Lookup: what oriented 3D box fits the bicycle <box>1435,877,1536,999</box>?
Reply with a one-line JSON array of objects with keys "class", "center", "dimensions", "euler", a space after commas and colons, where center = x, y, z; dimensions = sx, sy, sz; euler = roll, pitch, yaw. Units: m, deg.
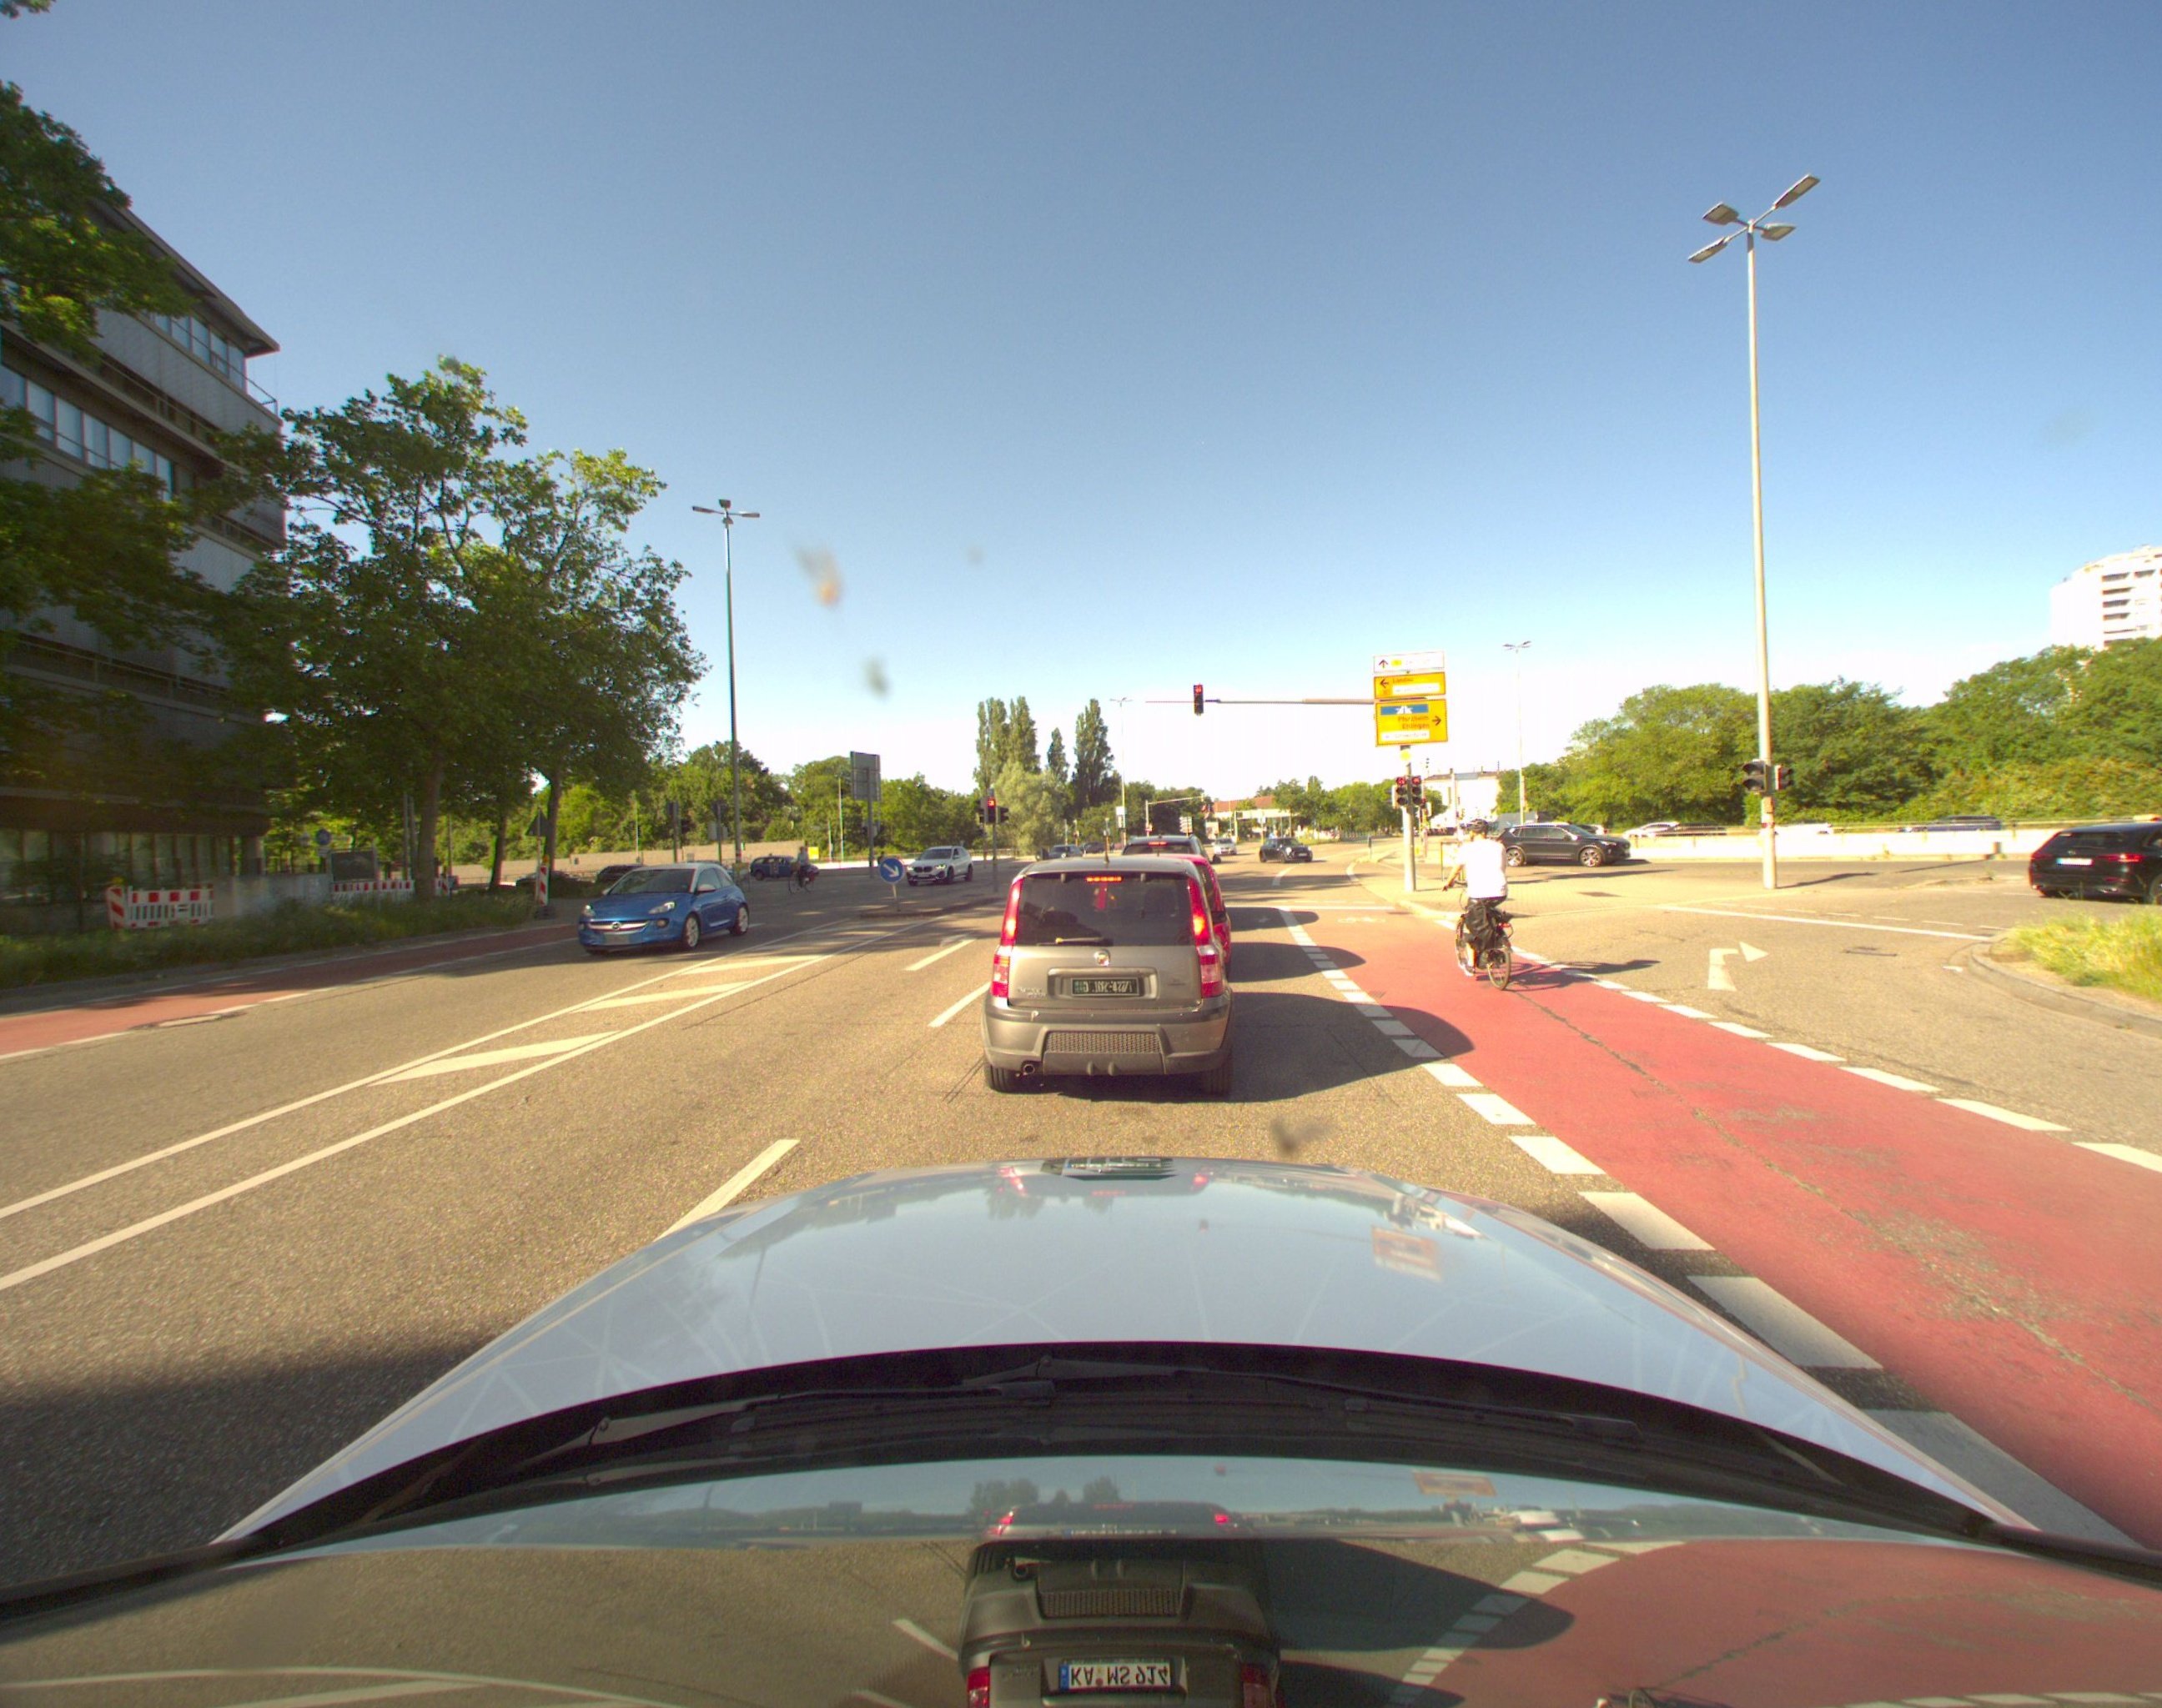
[{"class": "bicycle", "center": [4.406, 0.838, 9.024], "dimensions": [0.792, 1.111, 2.414], "euler": [0, -1, 21]}]

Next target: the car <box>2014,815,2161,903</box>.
[{"class": "car", "center": [21.171, 0.039, 15.972], "dimensions": [3.979, 1.493, 1.755], "euler": [-3, 2, -4]}]

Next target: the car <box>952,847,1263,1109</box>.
[{"class": "car", "center": [0.342, 0.696, 6.765], "dimensions": [1.811, 1.489, 4.007], "euler": [0, 1, 6]}]

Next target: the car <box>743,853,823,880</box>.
[{"class": "car", "center": [-18.688, 0.780, 51.141], "dimensions": [4.402, 1.438, 1.834], "euler": [-2, 1, 16]}]

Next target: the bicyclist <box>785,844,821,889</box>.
[{"class": "bicyclist", "center": [-10.962, 0.485, 32.133], "dimensions": [0.681, 1.701, 1.204], "euler": [-2, 2, 18]}]

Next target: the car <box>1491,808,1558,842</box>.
[{"class": "car", "center": [38.842, -2.480, 71.508], "dimensions": [2.262, 2.607, 4.852], "euler": [0, -2, -20]}]

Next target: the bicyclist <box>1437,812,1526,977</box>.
[{"class": "bicyclist", "center": [4.429, 0.425, 9.077], "dimensions": [0.792, 1.705, 1.091], "euler": [0, -1, 21]}]

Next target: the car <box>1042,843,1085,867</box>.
[{"class": "car", "center": [-1.108, 0.047, 53.584], "dimensions": [1.673, 1.457, 3.930], "euler": [-2, 0, 15]}]

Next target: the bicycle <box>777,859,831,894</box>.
[{"class": "bicycle", "center": [-10.913, 0.885, 32.230], "dimensions": [0.681, 1.202, 2.338], "euler": [-2, 2, 18]}]

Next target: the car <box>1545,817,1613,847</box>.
[{"class": "car", "center": [36.594, -1.583, 59.911], "dimensions": [3.948, 2.014, 2.012], "euler": [-2, -2, 40]}]

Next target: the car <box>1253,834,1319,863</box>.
[{"class": "car", "center": [11.486, -0.266, 45.871], "dimensions": [1.996, 1.453, 3.980], "euler": [0, -2, -14]}]

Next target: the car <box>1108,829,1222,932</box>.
[{"class": "car", "center": [1.833, 0.427, 16.469], "dimensions": [1.856, 1.790, 4.428], "euler": [0, 1, 11]}]

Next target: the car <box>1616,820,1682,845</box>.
[{"class": "car", "center": [44.050, -1.630, 63.210], "dimensions": [3.948, 1.750, 2.012], "euler": [-2, -2, 40]}]

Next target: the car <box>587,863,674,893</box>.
[{"class": "car", "center": [-24.803, 1.342, 44.797], "dimensions": [4.396, 1.438, 1.837], "euler": [-2, 1, 24]}]

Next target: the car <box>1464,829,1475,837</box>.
[{"class": "car", "center": [90.561, -4.889, 190.026], "dimensions": [1.974, 1.640, 4.025], "euler": [-3, 0, 29]}]

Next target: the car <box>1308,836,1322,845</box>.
[{"class": "car", "center": [50.756, -2.876, 176.414], "dimensions": [1.994, 1.855, 4.458], "euler": [-2, -2, 29]}]

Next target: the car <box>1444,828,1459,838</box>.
[{"class": "car", "center": [71.043, -4.015, 156.088], "dimensions": [1.974, 1.794, 4.025], "euler": [-2, -2, 32]}]

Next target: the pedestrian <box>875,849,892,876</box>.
[{"class": "pedestrian", "center": [-12.072, 0.521, 49.757], "dimensions": [0.684, 1.538, 1.365], "euler": [-1, -4, 0]}]

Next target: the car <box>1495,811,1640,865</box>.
[{"class": "car", "center": [18.627, -0.537, 31.327], "dimensions": [2.010, 1.836, 4.309], "euler": [0, -2, -40]}]

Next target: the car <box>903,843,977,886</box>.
[{"class": "car", "center": [-6.068, 0.397, 35.657], "dimensions": [1.824, 1.653, 4.638], "euler": [-3, 1, 7]}]

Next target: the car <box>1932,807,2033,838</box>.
[{"class": "car", "center": [57.350, -1.963, 51.913], "dimensions": [3.948, 1.662, 2.013], "euler": [-2, -2, 37]}]

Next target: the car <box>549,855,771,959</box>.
[{"class": "car", "center": [-7.475, 0.840, 15.049], "dimensions": [1.815, 1.503, 4.448], "euler": [-3, 1, -2]}]

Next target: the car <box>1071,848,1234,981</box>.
[{"class": "car", "center": [0.970, 0.669, 11.108], "dimensions": [1.811, 1.479, 4.006], "euler": [0, 0, 5]}]

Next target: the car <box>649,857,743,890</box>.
[{"class": "car", "center": [-19.498, 0.996, 41.221], "dimensions": [4.396, 1.438, 1.837], "euler": [-2, 1, 24]}]

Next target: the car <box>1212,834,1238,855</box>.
[{"class": "car", "center": [11.335, -0.764, 64.281], "dimensions": [1.741, 1.493, 4.359], "euler": [-1, 2, 8]}]

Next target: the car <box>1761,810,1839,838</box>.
[{"class": "car", "center": [50.295, -2.039, 57.062], "dimensions": [3.948, 1.684, 1.868], "euler": [-2, -2, 40]}]
